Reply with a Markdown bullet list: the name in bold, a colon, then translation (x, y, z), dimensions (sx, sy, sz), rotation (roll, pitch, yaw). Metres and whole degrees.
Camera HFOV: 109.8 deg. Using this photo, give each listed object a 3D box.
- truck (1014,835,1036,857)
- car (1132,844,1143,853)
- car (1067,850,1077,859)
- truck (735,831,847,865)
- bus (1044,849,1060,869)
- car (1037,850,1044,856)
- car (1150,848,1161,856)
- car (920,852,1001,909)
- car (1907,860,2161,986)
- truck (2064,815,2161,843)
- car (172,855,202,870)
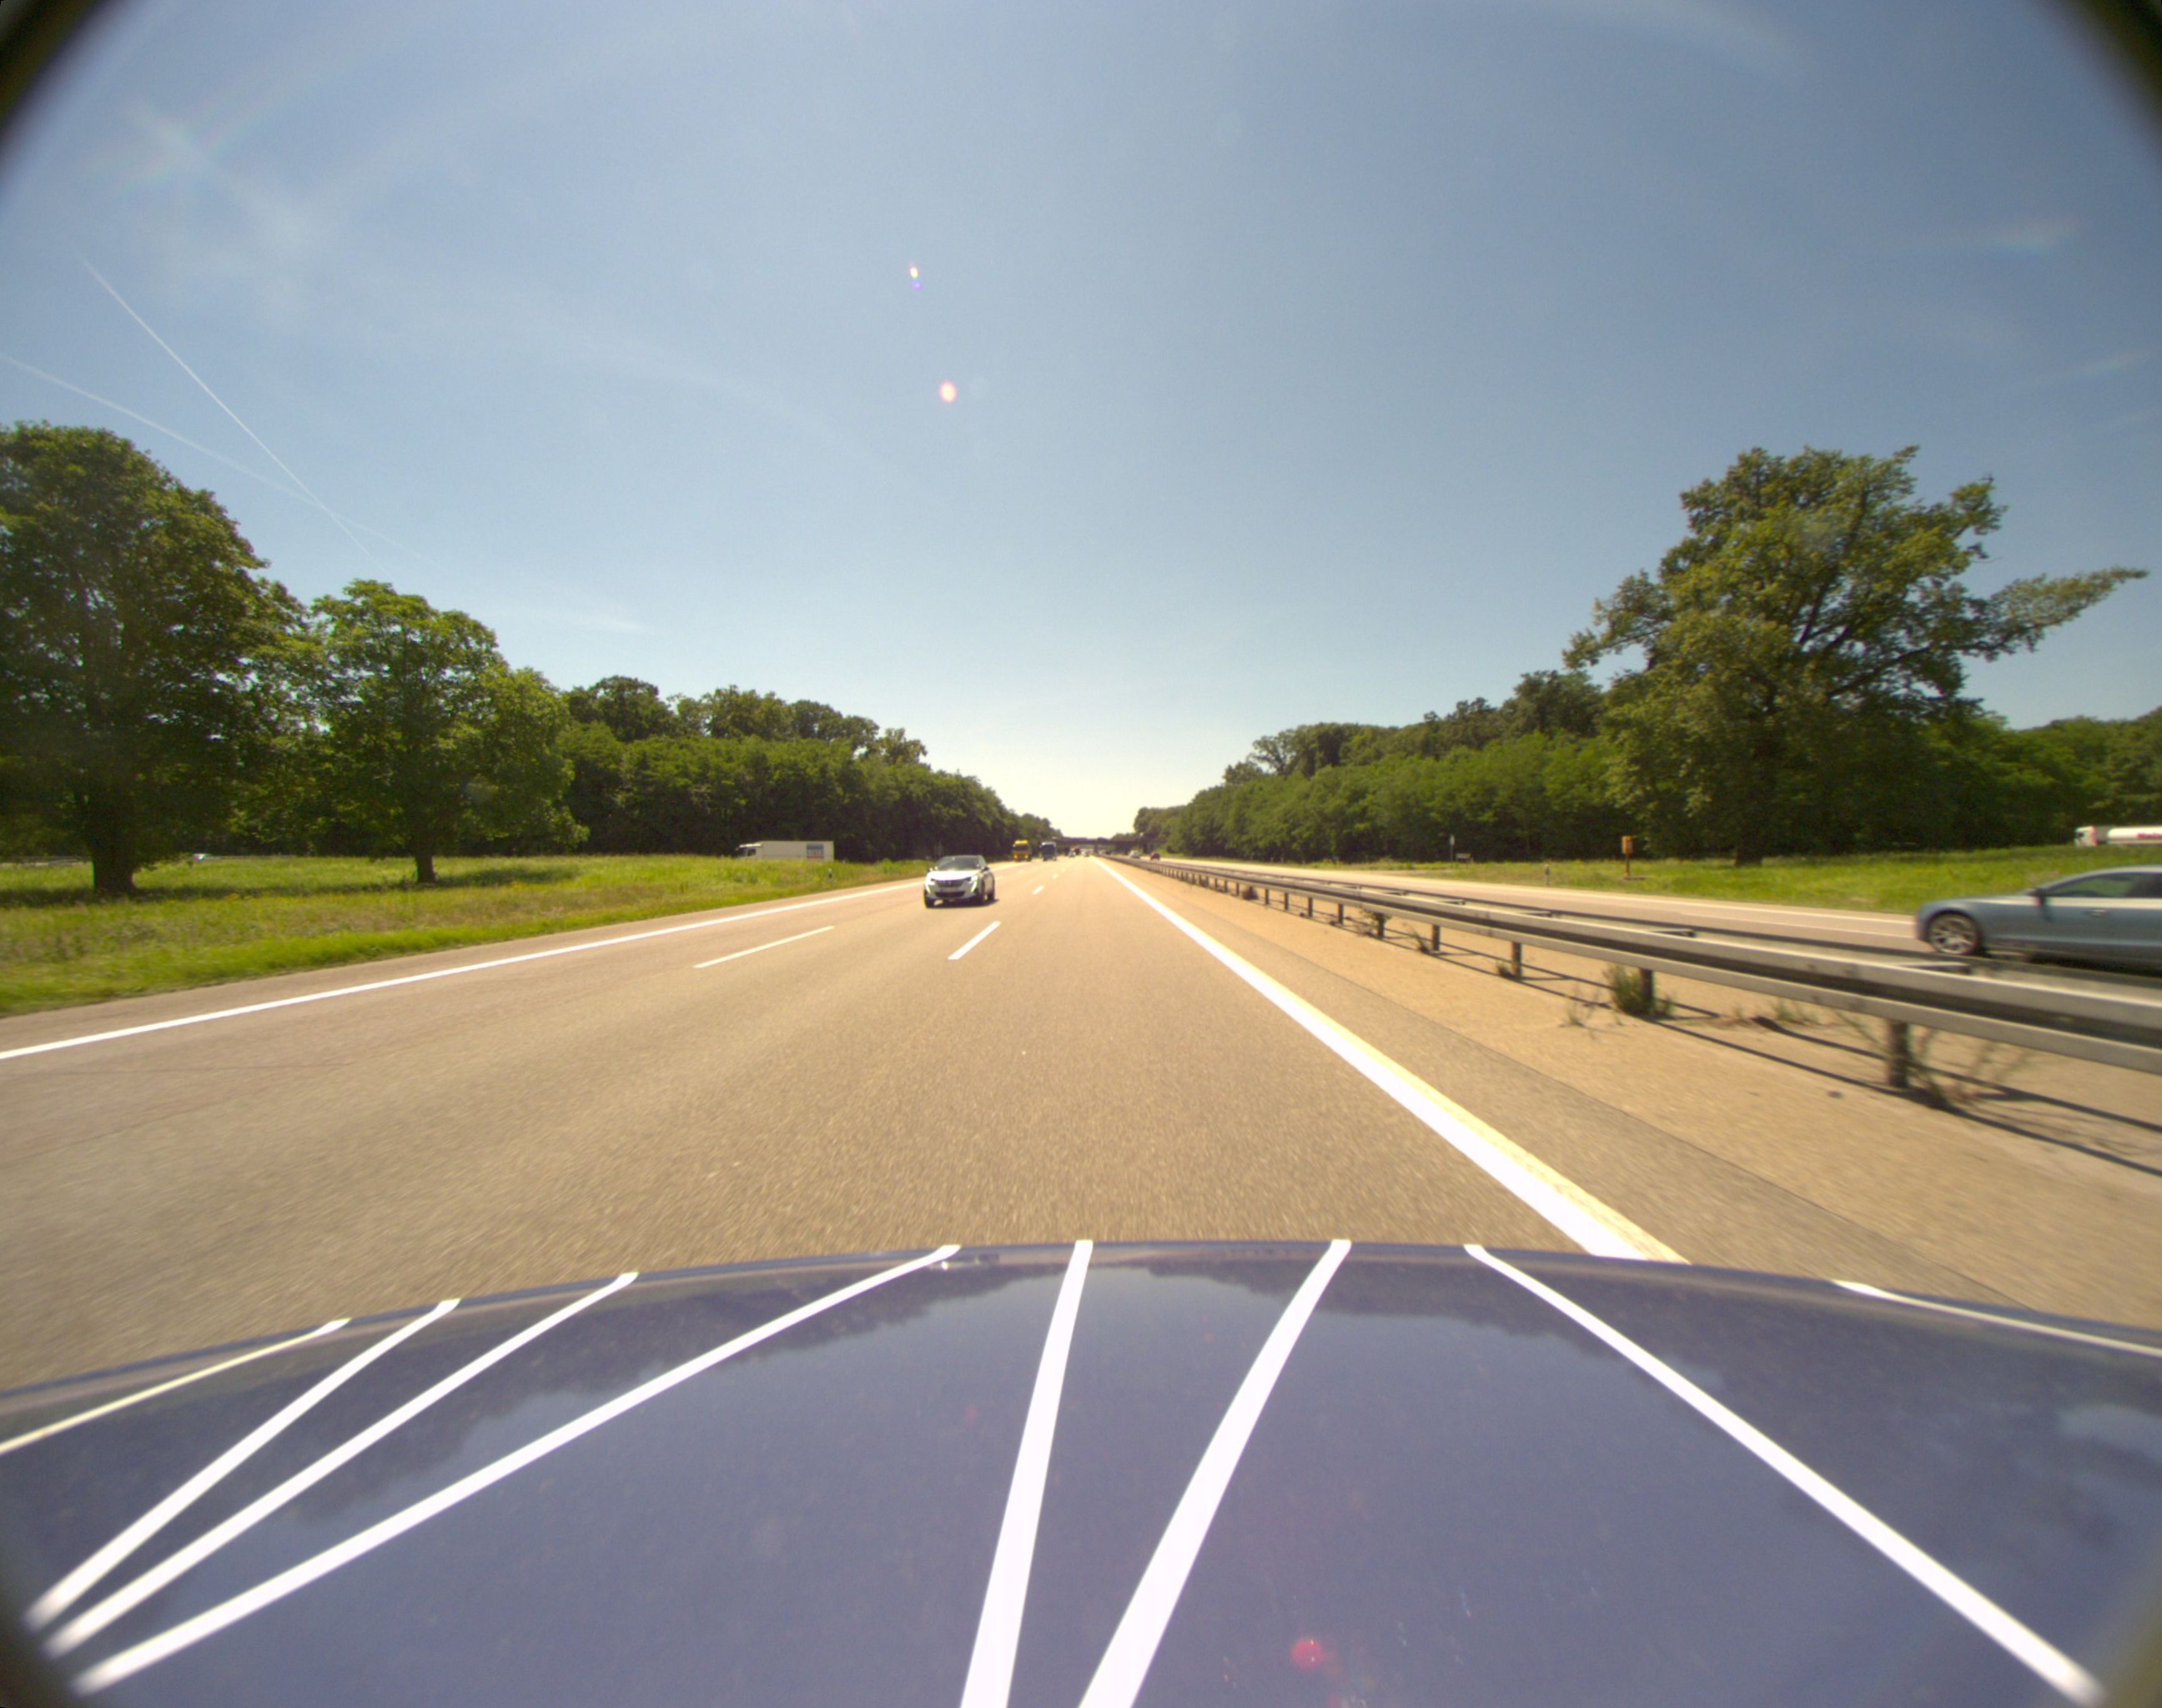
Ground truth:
- **truck**: translation (-10.720, -1.495, 146.761), dimensions (2.982, 4.013, 10.981), rotation (-3, 1, 2)
- **car**: translation (11.027, -1.027, 149.278), dimensions (1.815, 1.683, 5.124), rotation (-1, 1, 0)
- **car**: translation (-2.655, 0.057, 222.769), dimensions (2.616, 2.389, 7.122), rotation (-2, 1, 0)
- **truck**: translation (-31.004, -0.701, 81.691), dimensions (10.790, 3.300, 3.030), rotation (-3, 1, -43)
- **bus**: translation (-5.724, 0.914, 151.966), dimensions (2.617, 3.532, 13.681), rotation (-2, 1, 0)
- **car**: translation (-11.180, -0.177, 209.939), dimensions (1.875, 1.547, 4.201), rotation (-2, 1, 0)
- **car**: translation (14.716, -0.426, 149.939), dimensions (1.767, 1.486, 4.074), rotation (1, 1, 0)
- **car**: translation (-3.791, 0.782, 24.746), dimensions (1.832, 1.599, 4.808), rotation (-2, 1, 0)
- **car**: translation (13.210, 0.859, 8.906), dimensions (1.725, 1.373, 4.785), rotation (3, 1, -1)
- **truck**: translation (131.135, -3.116, 94.196), dimensions (2.702, 3.264, 14.794), rotation (-2, 1, 14)
- **car**: translation (-116.800, 1.123, 99.301), dimensions (2.004, 1.871, 3.989), rotation (-3, 1, -43)
